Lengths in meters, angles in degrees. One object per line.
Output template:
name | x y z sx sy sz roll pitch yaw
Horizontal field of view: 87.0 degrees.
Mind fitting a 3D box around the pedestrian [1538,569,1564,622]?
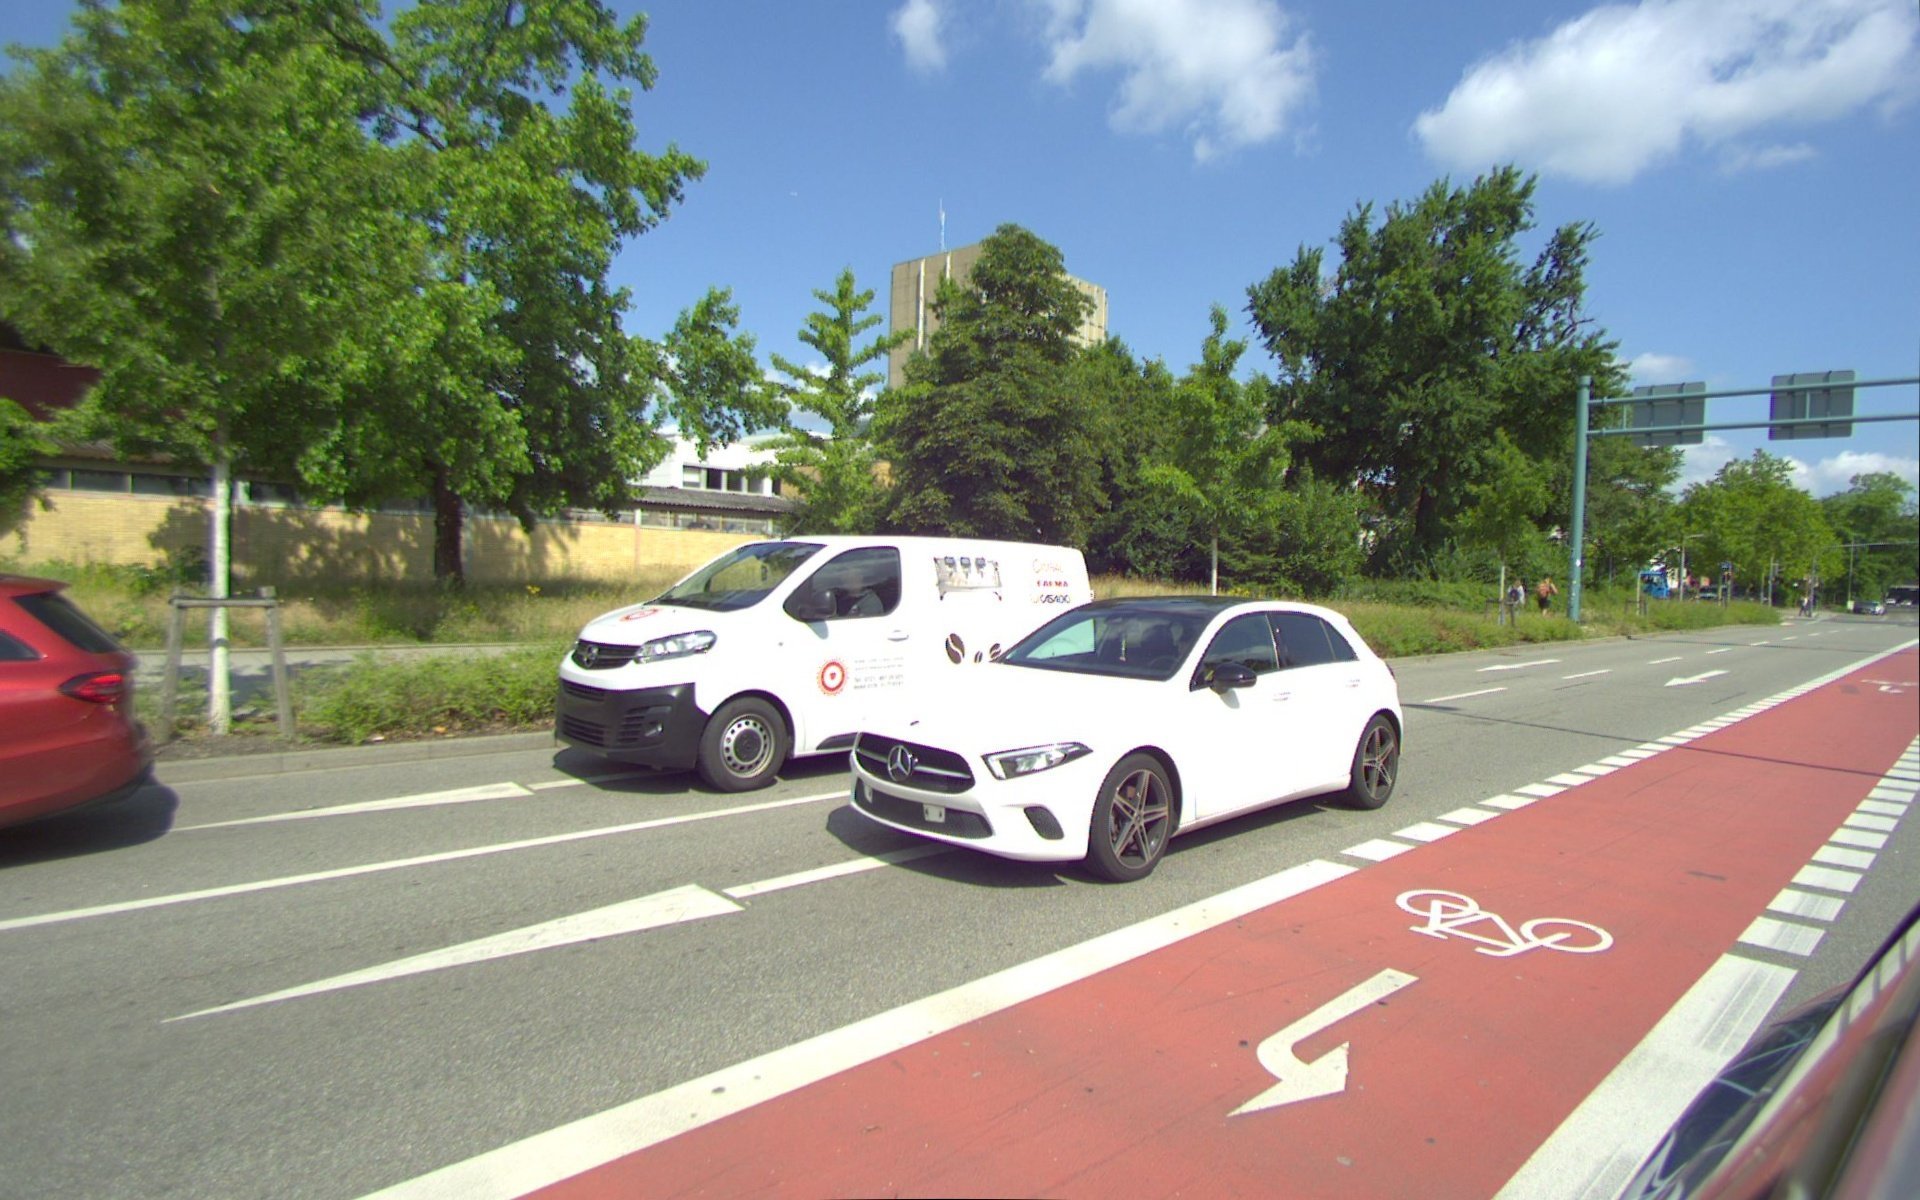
pedestrian | 20.441 -0.158 35.014 0.628 1.824 0.568 1 2 -43

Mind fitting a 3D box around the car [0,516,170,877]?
car | -6.138 0.414 4.205 4.387 1.661 1.683 0 2 -43

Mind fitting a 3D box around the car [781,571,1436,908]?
car | 1.202 0.604 6.621 4.309 1.441 1.907 0 2 -42

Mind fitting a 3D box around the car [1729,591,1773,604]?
car | 93.790 -0.322 120.032 3.977 1.442 1.735 3 2 36

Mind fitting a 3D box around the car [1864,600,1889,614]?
car | 95.868 0.732 105.871 1.703 1.345 3.941 6 4 41

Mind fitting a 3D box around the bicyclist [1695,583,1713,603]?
bicyclist | 57.035 -0.524 77.593 0.600 1.526 0.920 2 1 -3

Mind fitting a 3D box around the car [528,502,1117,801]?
car | -0.940 0.290 8.723 4.742 1.893 1.946 0 2 -42

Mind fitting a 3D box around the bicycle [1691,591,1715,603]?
bicycle | 57.017 -0.203 77.627 0.608 0.843 1.516 2 2 -4

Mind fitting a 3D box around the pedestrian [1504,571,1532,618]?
pedestrian | 19.639 -0.192 35.593 0.696 1.600 0.624 1 2 -43

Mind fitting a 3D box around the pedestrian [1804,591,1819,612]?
pedestrian | 67.414 0.123 80.116 0.627 1.670 0.742 1 1 -36

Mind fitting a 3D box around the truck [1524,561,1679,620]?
truck | 45.762 -0.770 72.605 9.110 3.846 2.639 3 2 29

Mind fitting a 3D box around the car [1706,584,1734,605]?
car | 78.035 -0.527 103.878 1.992 2.038 4.831 3 2 40
